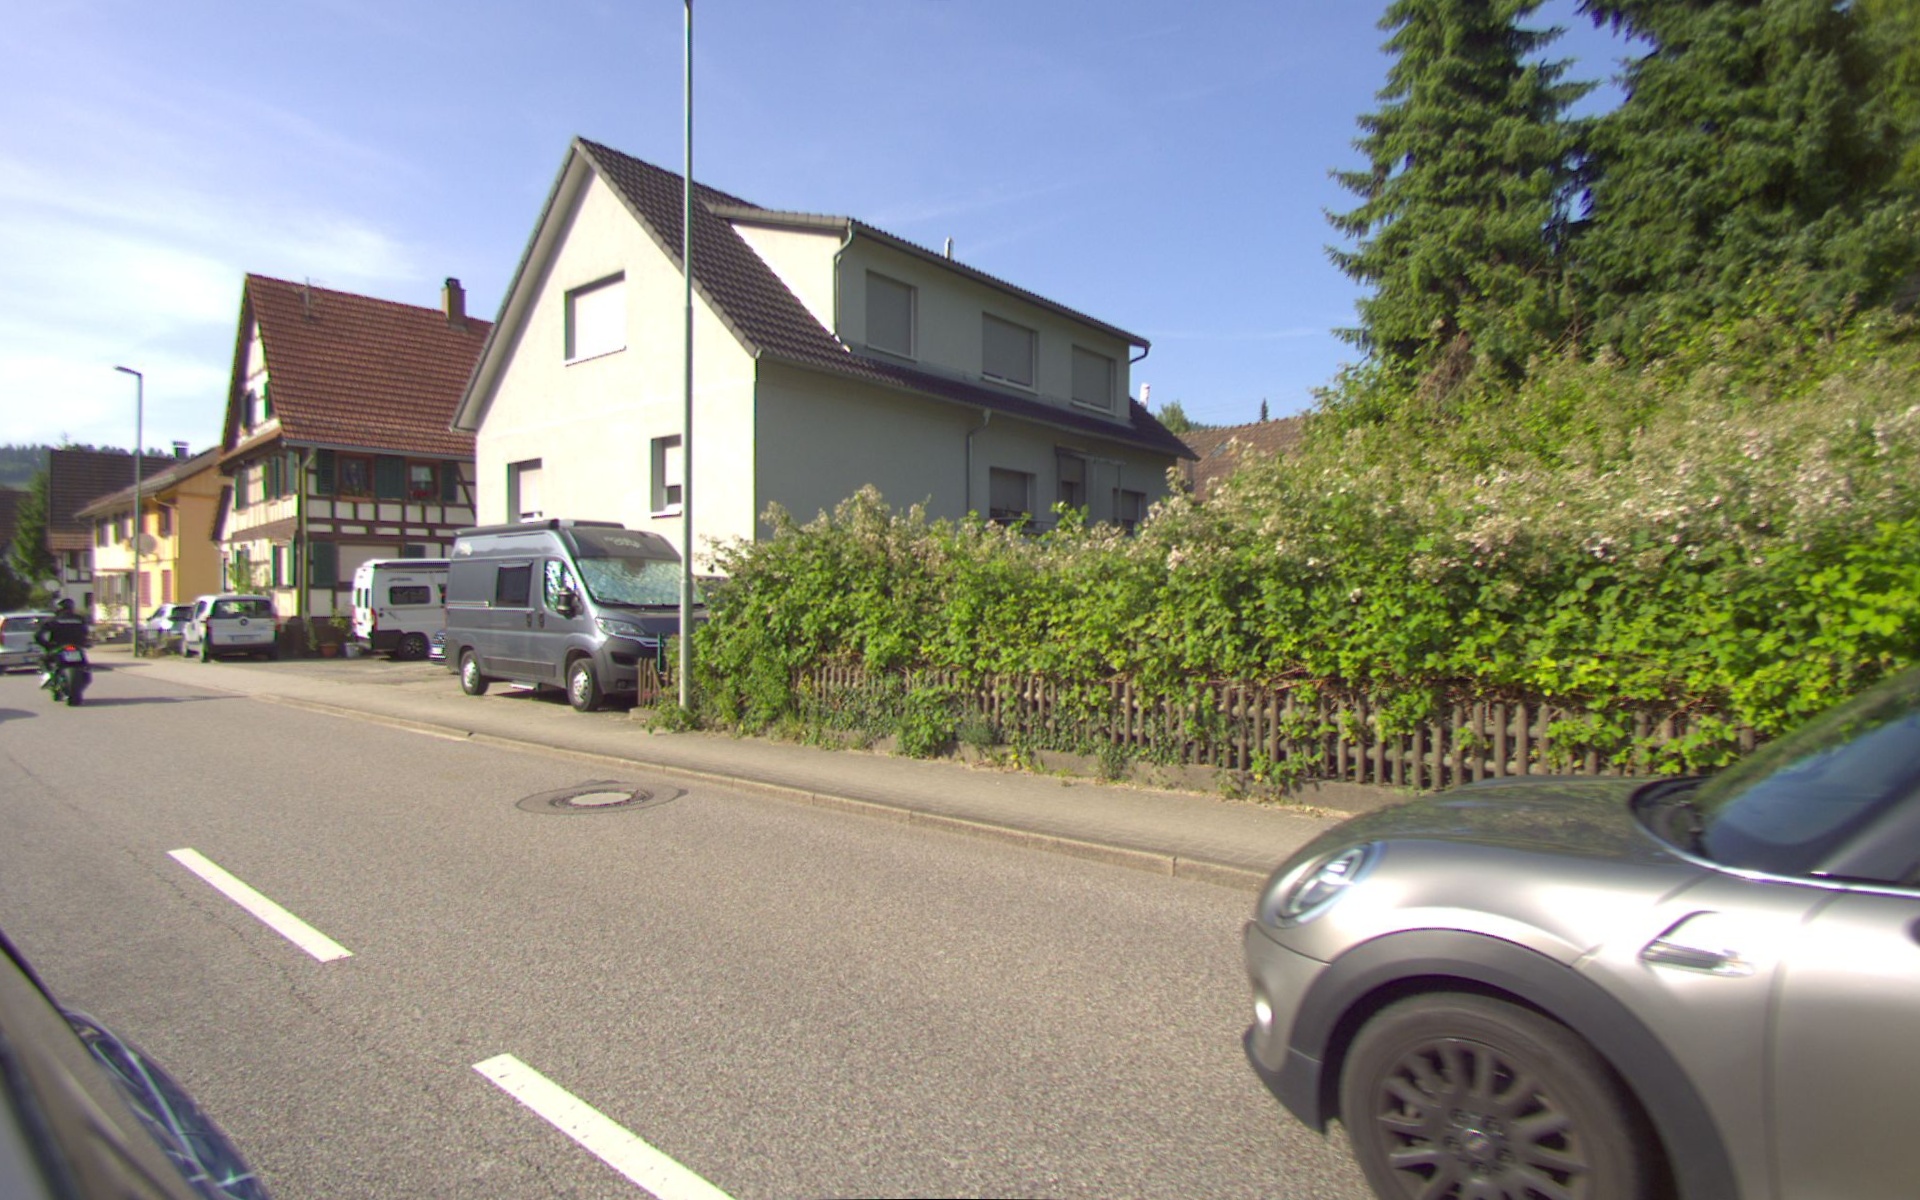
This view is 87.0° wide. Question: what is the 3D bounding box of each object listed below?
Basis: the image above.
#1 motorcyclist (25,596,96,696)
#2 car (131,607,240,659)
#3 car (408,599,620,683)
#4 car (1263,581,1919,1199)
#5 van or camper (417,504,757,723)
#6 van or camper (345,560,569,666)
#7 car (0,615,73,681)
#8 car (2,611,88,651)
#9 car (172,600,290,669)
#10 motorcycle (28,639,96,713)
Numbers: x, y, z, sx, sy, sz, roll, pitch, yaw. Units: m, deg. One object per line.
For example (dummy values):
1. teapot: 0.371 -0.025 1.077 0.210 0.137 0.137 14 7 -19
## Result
1. motorcyclist: -14.510 0.719 16.332 0.628 1.570 0.816 -1 -1 44
2. car: -24.400 1.028 31.827 4.090 1.530 1.865 -1 -2 40
3. car: -9.913 0.844 22.702 1.906 1.561 3.879 -1 1 40
4. car: 2.768 0.669 1.703 3.998 1.413 1.696 0 0 41
5. van or camper: -5.606 0.193 14.656 5.900 2.574 2.125 -1 -1 42
6. van or camper: -13.881 0.263 28.132 5.114 2.683 2.195 -2 1 -42
7. car: -23.427 1.152 25.357 1.611 1.496 4.003 -2 1 -44
8. car: -38.996 1.303 43.102 4.228 1.530 1.868 -1 1 36
9. car: -19.816 0.877 27.441 4.269 1.677 1.879 -1 0 44
10. motorcycle: -14.604 1.193 16.434 2.182 1.076 0.646 -1 -1 44
